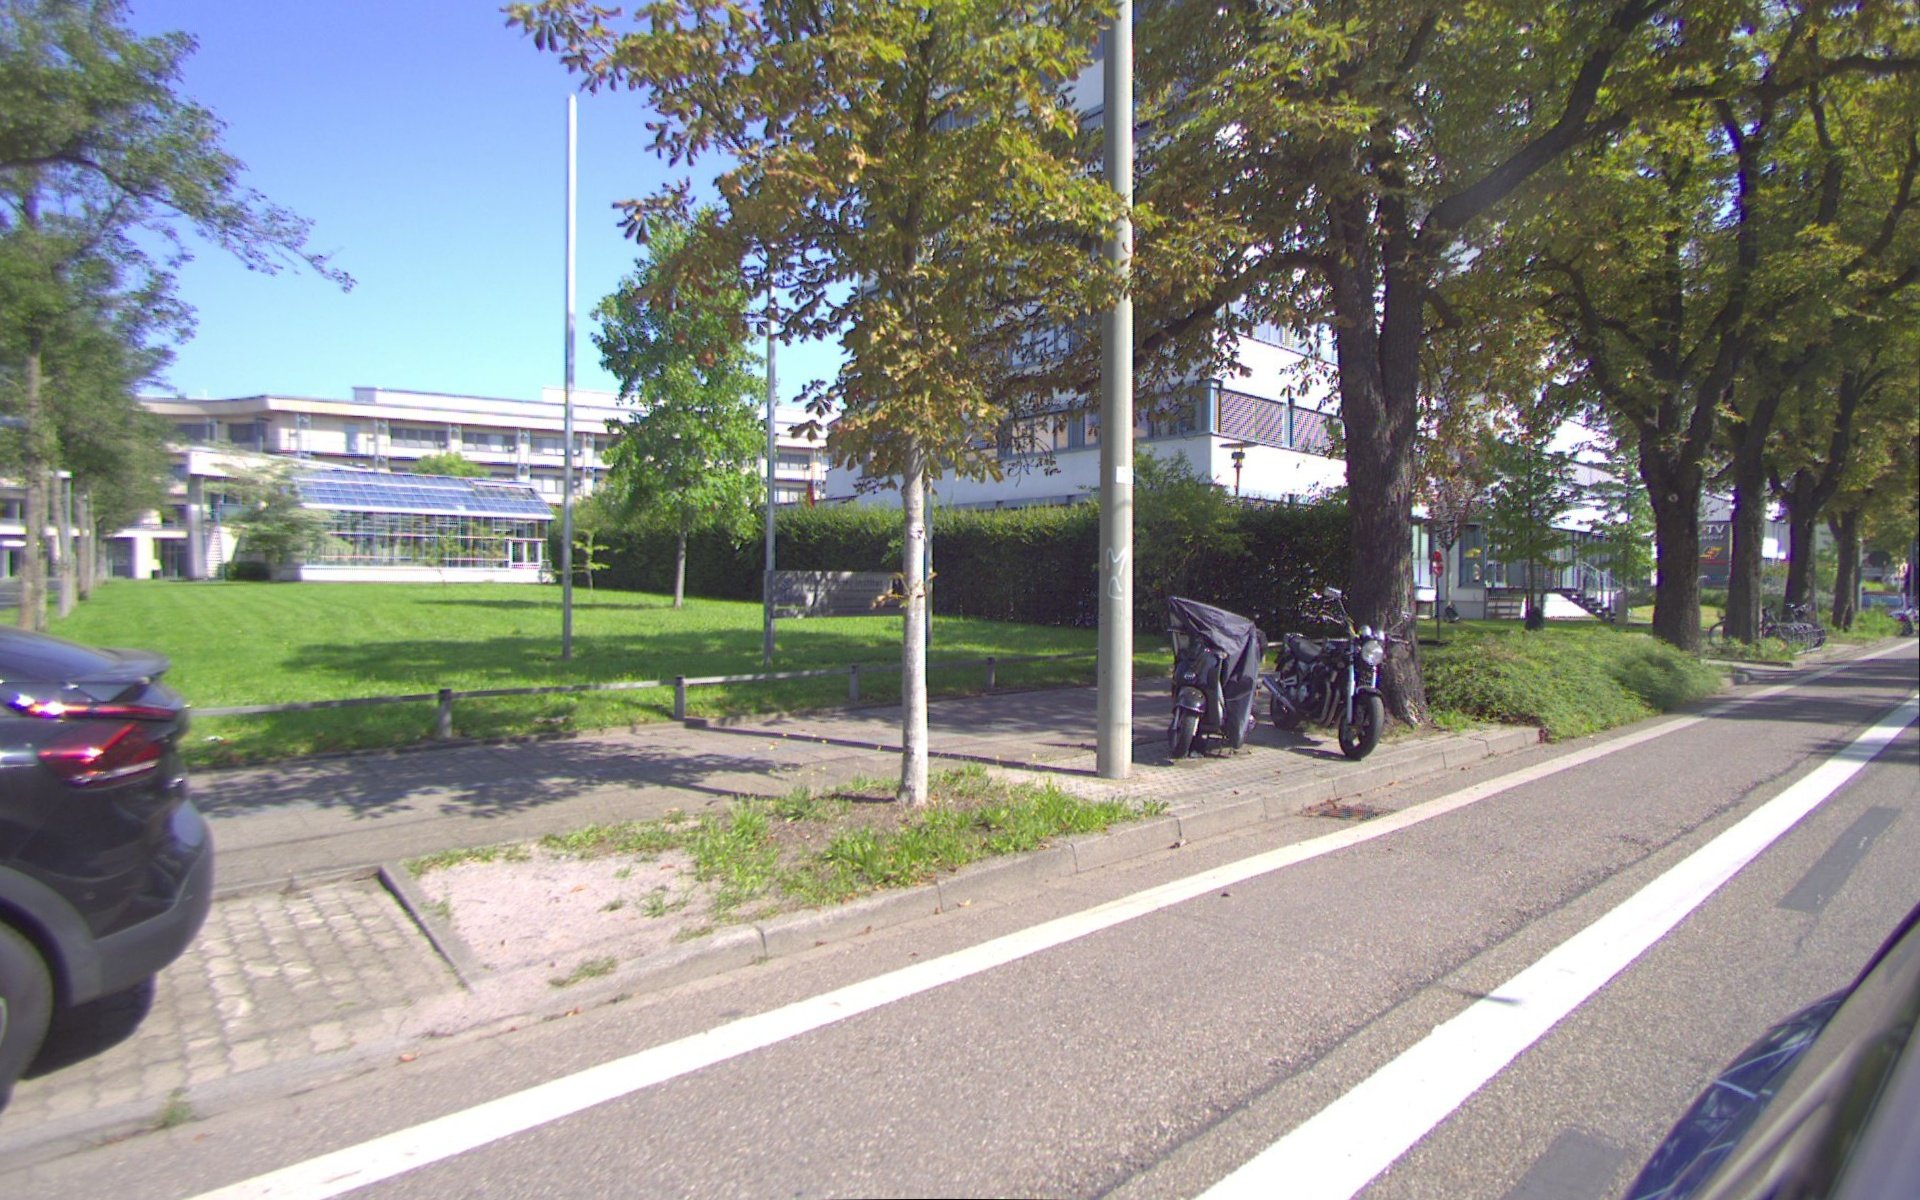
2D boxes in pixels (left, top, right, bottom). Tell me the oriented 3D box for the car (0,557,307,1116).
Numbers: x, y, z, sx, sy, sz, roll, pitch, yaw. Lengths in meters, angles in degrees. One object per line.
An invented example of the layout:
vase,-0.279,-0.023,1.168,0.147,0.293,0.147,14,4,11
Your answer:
car,-4.346,0.640,2.359,4.532,1.534,1.758,-1,2,-43

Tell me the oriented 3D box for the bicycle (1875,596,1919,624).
bicycle,37.877,0.398,40.548,0.531,1.085,1.774,0,1,-42

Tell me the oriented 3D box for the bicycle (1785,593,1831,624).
bicycle,33.391,0.321,39.836,2.494,1.139,1.136,-1,1,-44

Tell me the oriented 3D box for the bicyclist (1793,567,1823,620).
bicyclist,33.319,-0.253,39.778,1.253,2.039,0.781,0,0,-44

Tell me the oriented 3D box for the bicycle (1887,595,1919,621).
bicycle,41.738,0.347,44.200,0.531,1.085,1.774,0,1,-42

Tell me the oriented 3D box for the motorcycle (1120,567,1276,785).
motorcycle,2.055,0.521,8.427,0.843,1.535,2.435,0,0,24

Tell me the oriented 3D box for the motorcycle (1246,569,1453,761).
motorcycle,3.472,0.507,9.341,0.836,1.535,2.457,0,0,-3

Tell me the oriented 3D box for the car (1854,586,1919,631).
car,33.624,0.266,36.365,4.201,1.480,1.758,0,1,-42

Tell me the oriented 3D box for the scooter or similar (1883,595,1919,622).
scooter or similar,40.165,0.368,42.664,0.531,1.085,1.774,0,1,-42

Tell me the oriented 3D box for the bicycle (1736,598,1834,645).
bicycle,20.065,0.508,24.634,0.531,1.063,1.774,0,1,-42

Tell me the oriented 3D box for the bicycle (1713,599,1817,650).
bicycle,18.264,0.530,22.991,0.531,1.063,1.774,0,1,-42

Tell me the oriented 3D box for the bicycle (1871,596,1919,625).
bicycle,37.071,0.408,39.824,0.531,1.085,1.774,0,1,-42

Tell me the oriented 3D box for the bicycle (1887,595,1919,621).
bicycle,41.715,0.348,44.194,0.531,1.085,1.774,0,1,-42

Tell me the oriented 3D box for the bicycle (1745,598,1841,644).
bicycle,20.589,0.502,25.046,0.531,1.063,1.774,0,1,-42

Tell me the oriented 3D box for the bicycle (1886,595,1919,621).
bicycle,41.320,0.353,43.781,0.531,1.085,1.774,0,1,-42
